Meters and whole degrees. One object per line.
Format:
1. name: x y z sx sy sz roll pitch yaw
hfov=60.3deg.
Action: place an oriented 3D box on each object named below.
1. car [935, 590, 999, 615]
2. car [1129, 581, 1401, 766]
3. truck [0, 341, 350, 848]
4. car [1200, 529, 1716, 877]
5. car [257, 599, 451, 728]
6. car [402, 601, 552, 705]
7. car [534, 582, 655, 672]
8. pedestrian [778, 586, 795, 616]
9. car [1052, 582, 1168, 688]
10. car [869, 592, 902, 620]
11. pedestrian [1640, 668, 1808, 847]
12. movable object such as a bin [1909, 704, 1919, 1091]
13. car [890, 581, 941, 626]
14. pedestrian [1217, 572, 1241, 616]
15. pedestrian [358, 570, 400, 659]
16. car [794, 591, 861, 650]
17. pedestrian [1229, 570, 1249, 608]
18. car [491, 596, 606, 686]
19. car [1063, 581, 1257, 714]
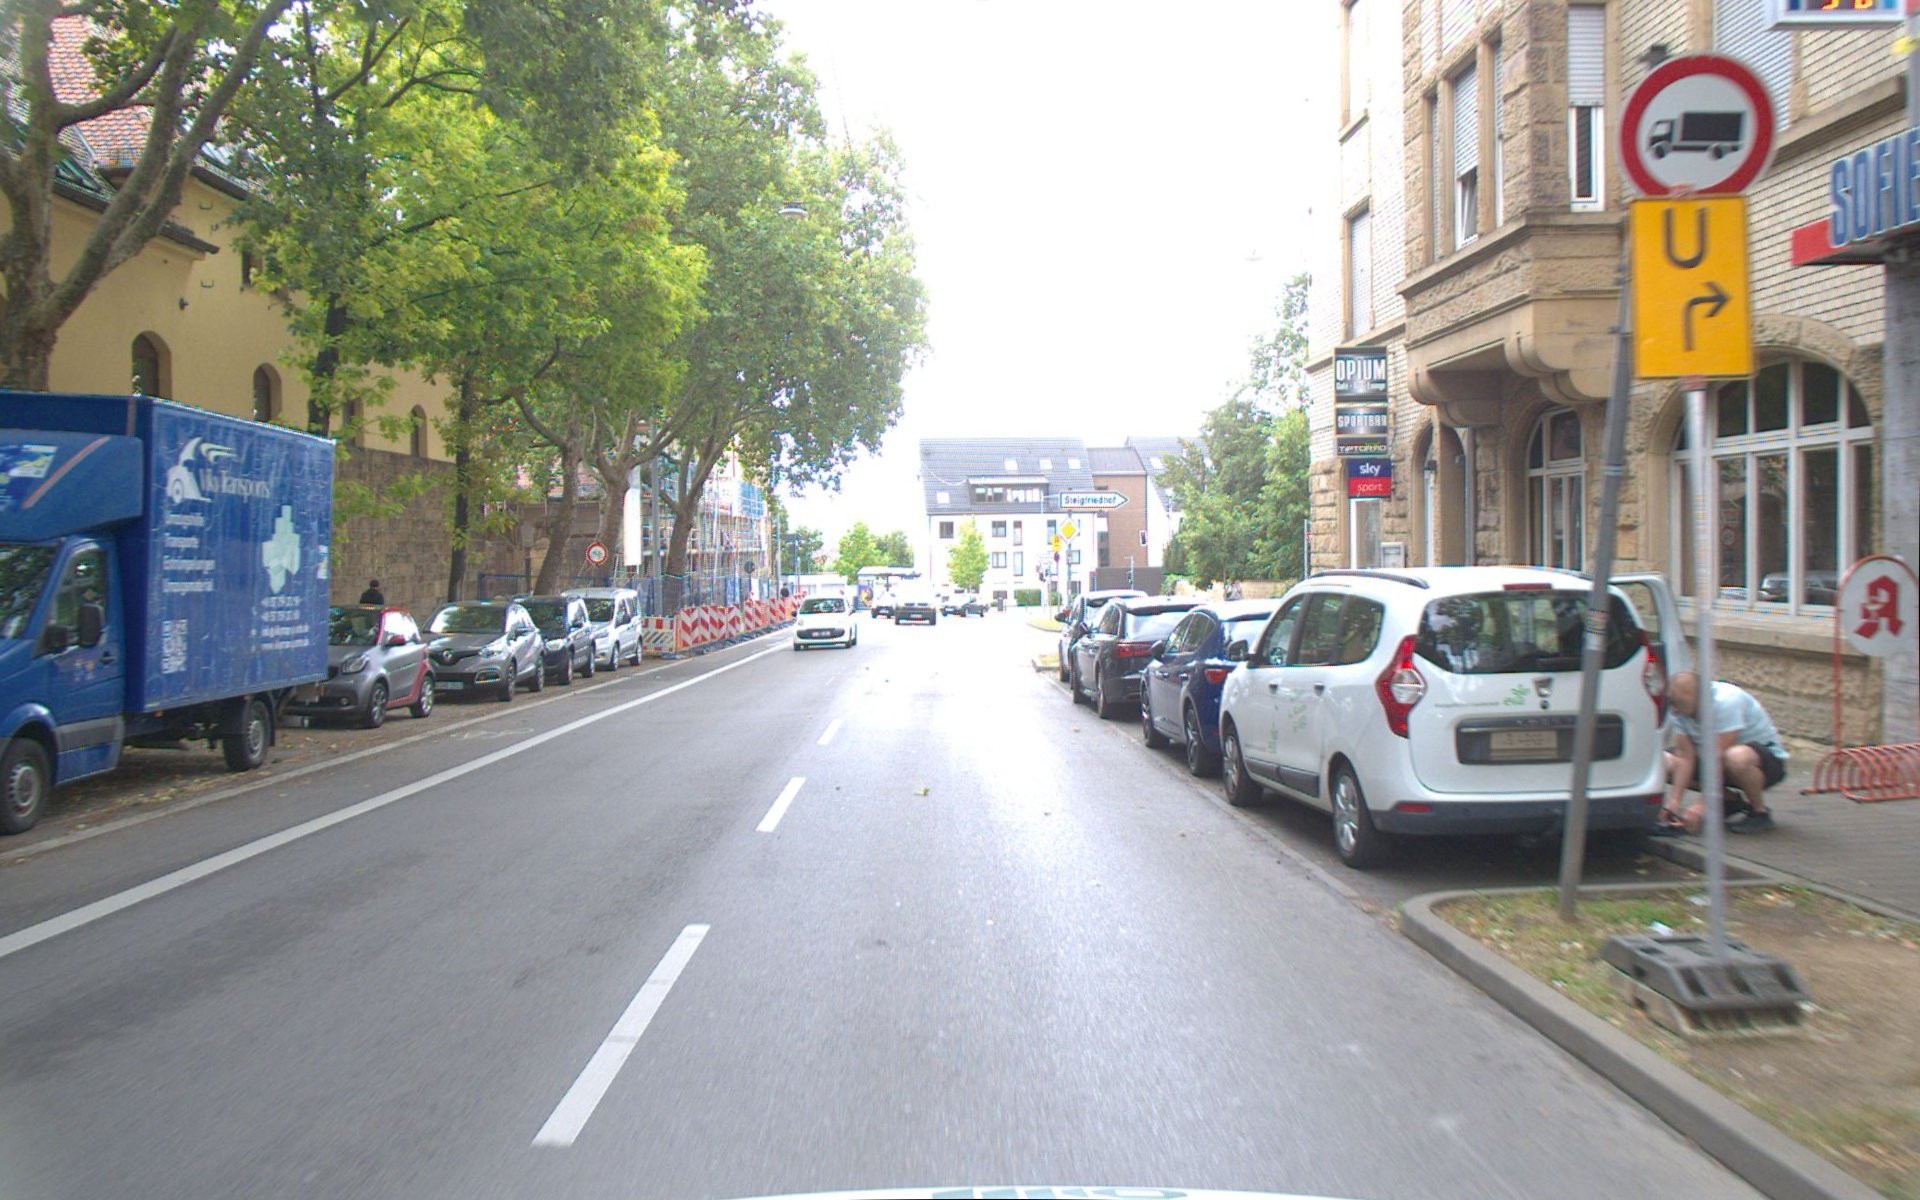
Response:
1. car: 0.425 0.153 100.511 3.659 1.451 1.682 0 0 -37
2. car: 2.704 0.582 15.589 1.573 1.421 4.274 -3 0 -2
3. truck: -7.783 -0.068 14.756 2.170 3.476 7.244 1 0 -2
4. car: 2.896 0.510 10.752 1.646 1.692 4.540 -3 0 -4
5. car: -8.091 0.809 22.330 1.450 1.601 2.992 1 0 1
6. car: -8.040 0.833 27.841 1.562 1.601 4.083 1 0 -4
7. car: -8.376 0.575 38.257 1.796 1.909 4.416 -2 0 -1
8. pedestrian: -10.255 0.058 97.844 0.903 1.750 0.799 1 -1 2
9. car: 2.480 0.540 27.975 1.533 1.638 3.653 -2 0 -1
10. car: -4.026 0.325 89.752 1.665 1.451 4.248 1 0 -1
11. pedestrian: 4.403 0.892 9.567 0.613 0.957 0.692 1 0 -7
12. movable object such as a bin: 2.905 0.812 4.162 0.609 1.042 0.696 -1 2 -4
13. car: -1.942 0.142 74.470 2.160 1.965 5.240 0 0 0
14. pedestrian: 11.177 -0.247 68.612 0.703 1.765 0.653 2 -1 -34
15. pedestrian: -12.129 0.300 34.548 0.580 1.831 0.742 1 -1 -1
16. car: -3.676 0.552 46.222 1.551 1.489 3.651 -3 0 -1
17. pedestrian: 12.090 -0.480 71.679 0.573 1.612 0.569 -4 1 -29
18. car: -8.138 0.768 32.971 1.478 1.660 4.112 1 0 -4
19. car: 2.514 0.545 21.943 1.704 1.488 4.772 -3 0 -3
